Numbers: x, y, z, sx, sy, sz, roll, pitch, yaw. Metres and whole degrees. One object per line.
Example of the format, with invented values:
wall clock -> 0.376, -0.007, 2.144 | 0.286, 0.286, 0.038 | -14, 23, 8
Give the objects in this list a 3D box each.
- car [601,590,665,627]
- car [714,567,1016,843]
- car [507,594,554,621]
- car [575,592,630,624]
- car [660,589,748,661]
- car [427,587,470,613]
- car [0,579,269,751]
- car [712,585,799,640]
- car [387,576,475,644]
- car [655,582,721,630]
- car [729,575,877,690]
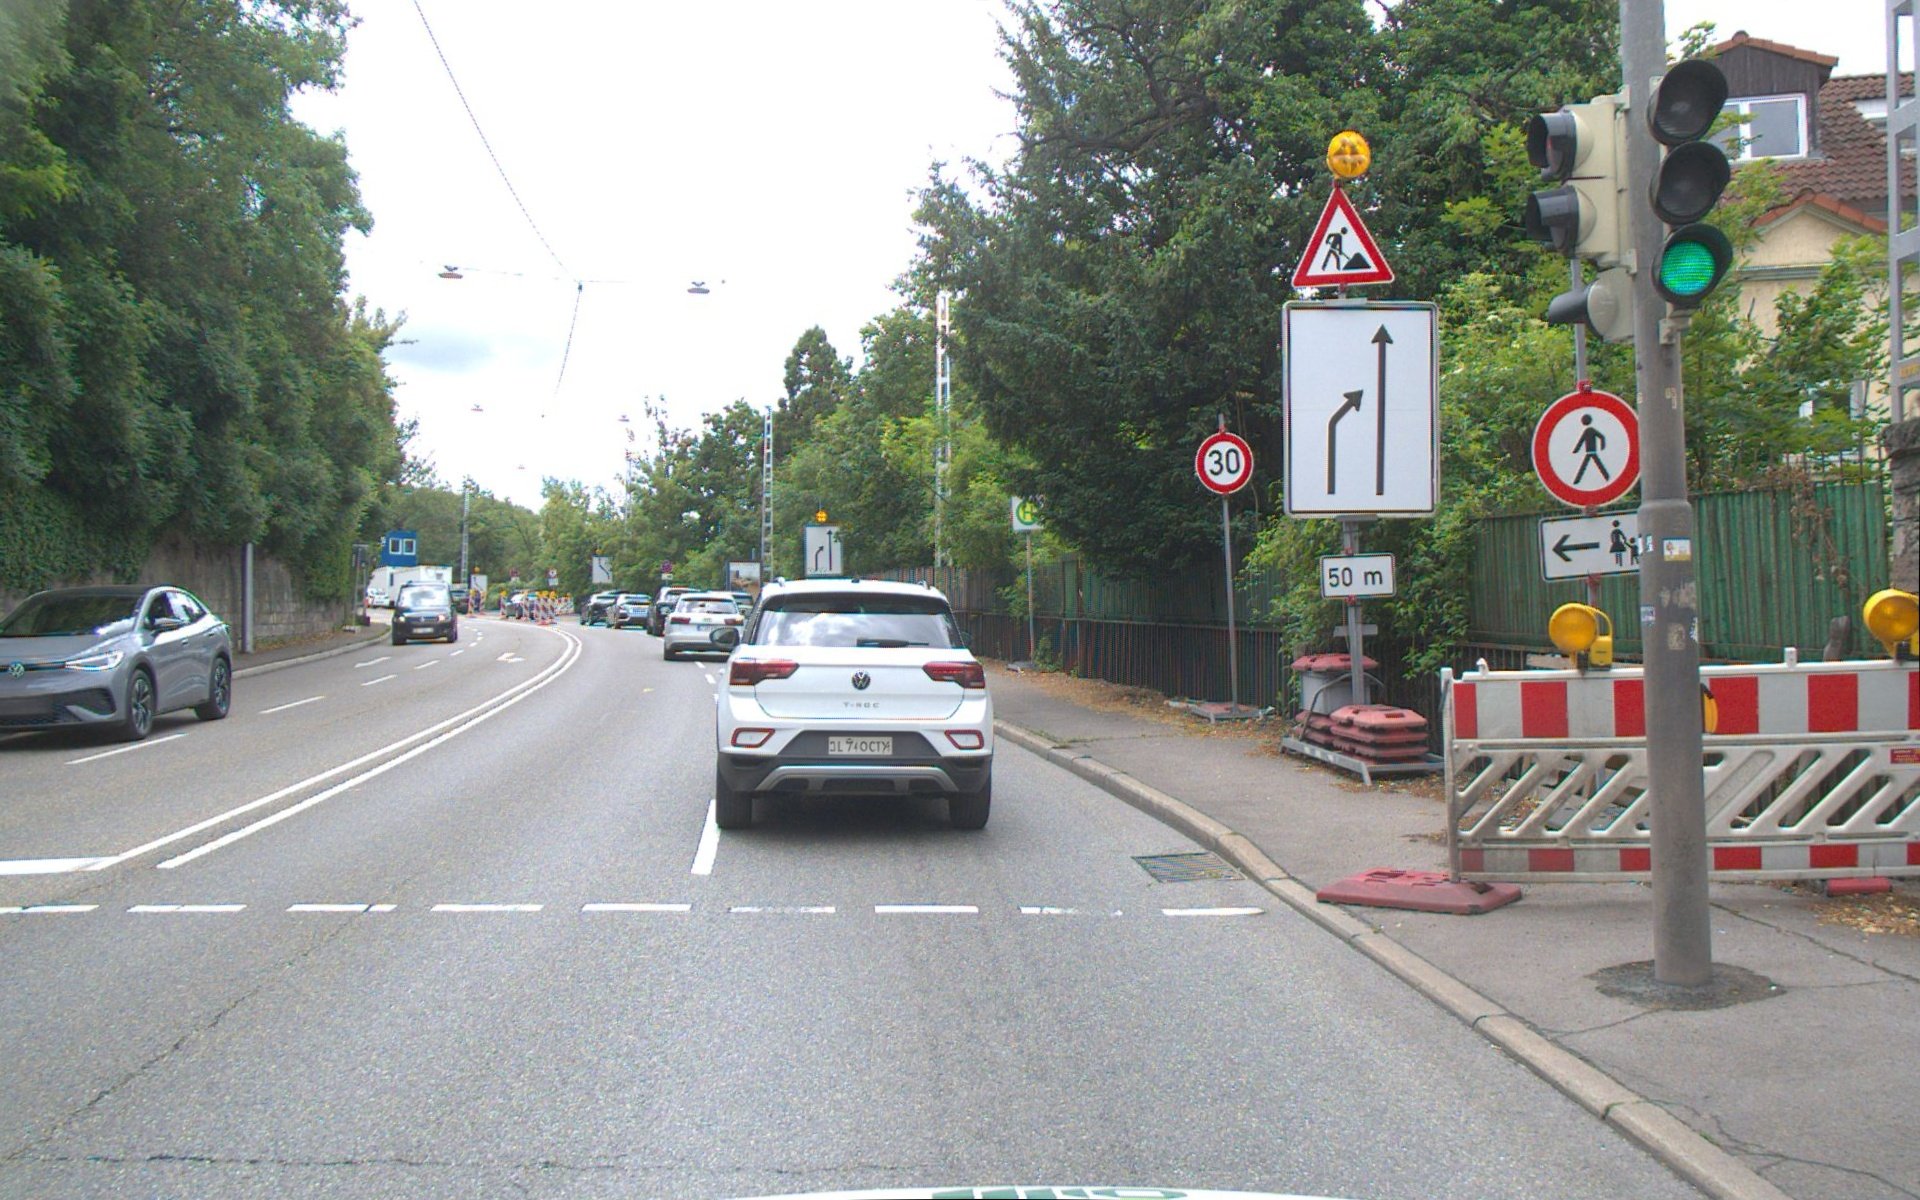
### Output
car -> -13.707, 0.377, 69.117 | 1.965, 1.475, 4.124 | 0, -1, -21
car -> -0.732, 0.630, 11.484 | 1.724, 1.583, 3.790 | 1, -1, -6
car -> -24.853, 0.438, 95.577 | 1.761, 1.480, 3.962 | 0, -1, -29
car -> -16.977, 0.376, 78.433 | 1.965, 1.475, 4.124 | 0, -1, -21
car -> -5.790, 0.547, 37.146 | 1.727, 1.497, 3.784 | 1, -1, -12
car -> -33.877, -0.013, 109.490 | 1.823, 1.729, 3.956 | 0, 0, -32
car -> -9.416, 0.649, 18.440 | 1.956, 1.636, 4.470 | -2, 0, -7
car -> -5.783, 0.370, 46.437 | 1.959, 1.439, 4.136 | -1, -1, -13
car -> -15.759, 0.282, 49.465 | 1.711, 1.878, 4.242 | -3, 1, -8
car -> -9.439, 0.192, 57.254 | 1.959, 1.583, 4.136 | 1, 0, -14
car -> -2.518, 0.488, 25.781 | 1.728, 1.638, 3.781 | 1, -1, -14
